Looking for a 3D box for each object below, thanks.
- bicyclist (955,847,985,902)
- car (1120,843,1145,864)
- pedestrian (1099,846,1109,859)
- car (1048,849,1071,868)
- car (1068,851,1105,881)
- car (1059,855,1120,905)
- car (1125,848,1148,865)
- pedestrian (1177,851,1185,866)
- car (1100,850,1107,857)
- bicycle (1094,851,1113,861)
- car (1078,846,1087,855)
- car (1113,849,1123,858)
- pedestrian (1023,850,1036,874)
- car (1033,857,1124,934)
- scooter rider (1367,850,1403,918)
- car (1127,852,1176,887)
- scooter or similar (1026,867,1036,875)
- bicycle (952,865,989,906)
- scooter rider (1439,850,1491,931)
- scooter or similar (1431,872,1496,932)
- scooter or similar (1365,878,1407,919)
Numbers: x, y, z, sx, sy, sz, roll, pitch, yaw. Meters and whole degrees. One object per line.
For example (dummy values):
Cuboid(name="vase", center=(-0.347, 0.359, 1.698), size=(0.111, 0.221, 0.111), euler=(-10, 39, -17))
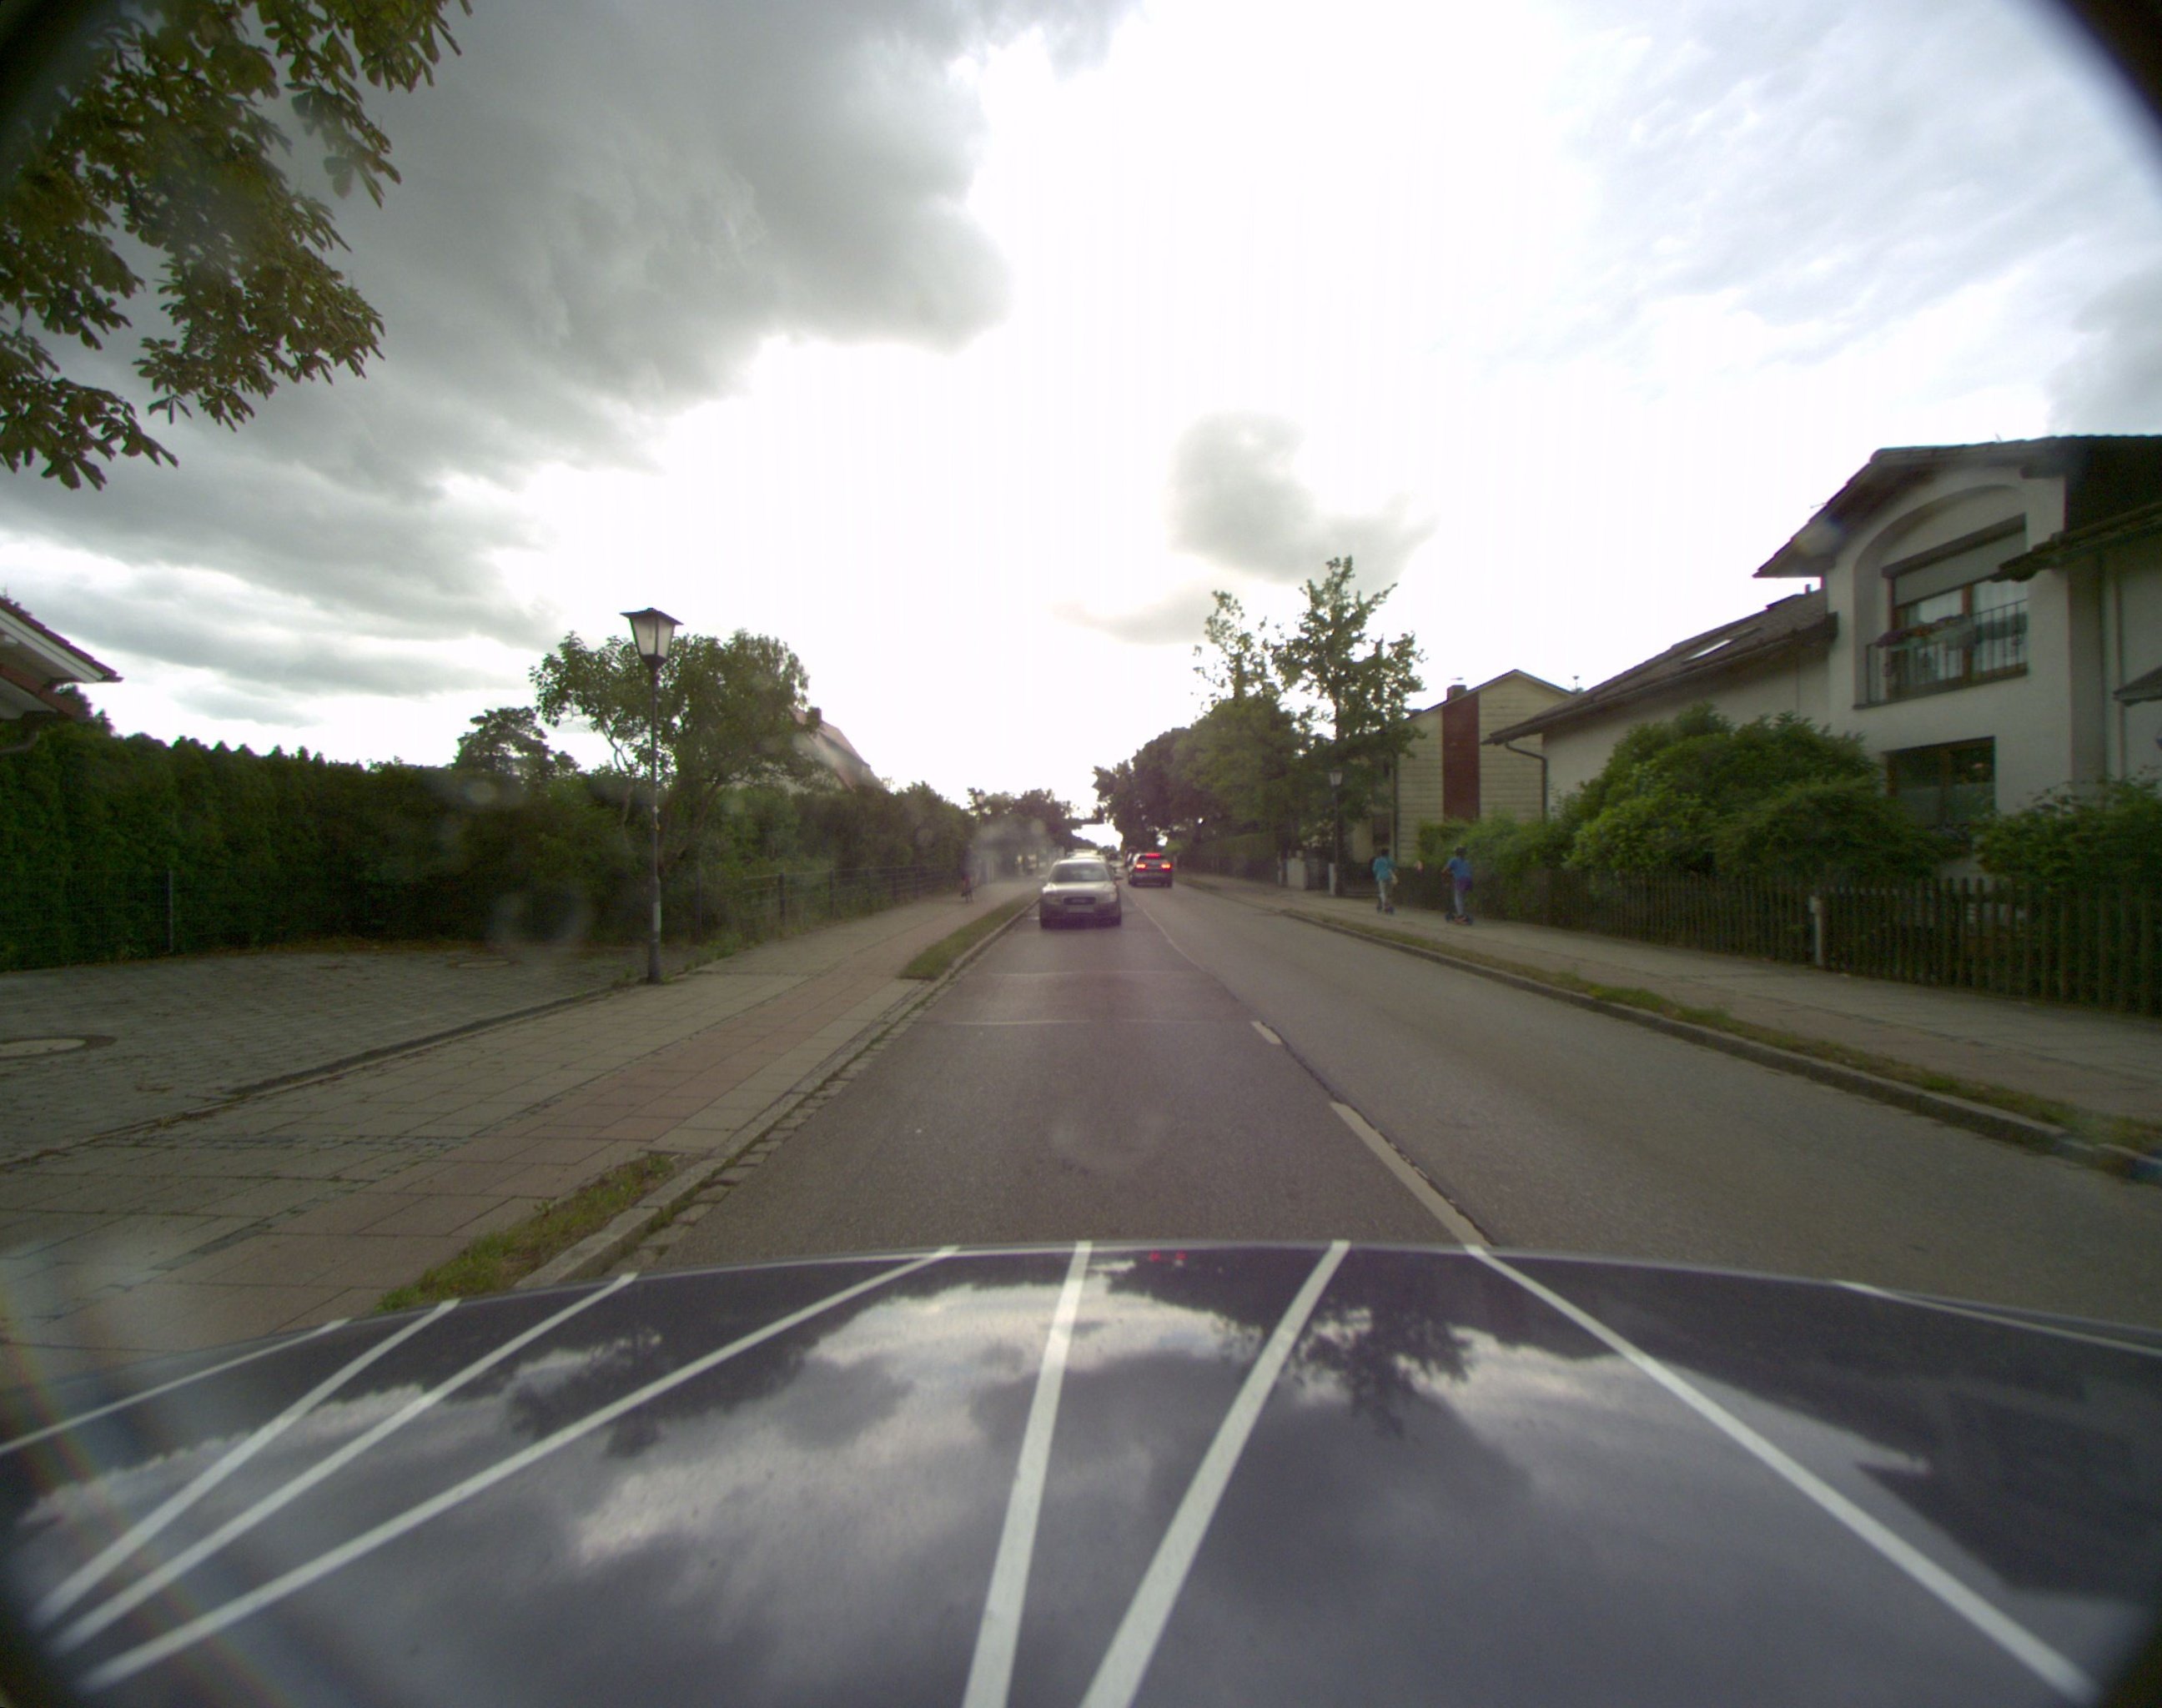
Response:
Cuboid(name="bicyclist", center=(-3.326, 0.590, 22.793), size=(0.738, 1.623, 0.890), euler=(0, 1, 2))
Cuboid(name="car", center=(5.869, -0.074, 86.860), size=(2.246, 2.258, 4.469), euler=(-1, 0, -2))
Cuboid(name="pedestrian", center=(3.661, -0.241, 121.415), size=(1.252, 2.002, 1.023), euler=(-2, 1, 24))
Cuboid(name="car", center=(-1.759, 0.349, 64.027), size=(1.867, 1.518, 4.122), euler=(0, 0, -1))
Cuboid(name="car", center=(0.286, 0.642, 41.704), size=(1.866, 1.518, 4.122), euler=(-1, 0, 0))
Cuboid(name="car", center=(0.279, 0.814, 26.308), size=(1.866, 1.518, 4.942), euler=(-1, 0, 0))
Cuboid(name="car", center=(5.880, 0.274, 81.021), size=(1.999, 1.739, 3.999), euler=(-1, 0, -2))
Cuboid(name="pedestrian", center=(9.136, 0.402, 69.464), size=(0.631, 1.429, 0.563), euler=(-1, 1, 0))
Cuboid(name="car", center=(6.497, -0.166, 217.486), size=(1.904, 1.873, 5.010), euler=(-1, 0, 1))
Cuboid(name="bicycle", center=(3.578, 0.332, 121.392), size=(2.911, 1.541, 0.941), euler=(-1, 1, 23))
Cuboid(name="car", center=(0.342, -0.840, 167.994), size=(1.998, 2.002, 4.000), euler=(-1, 0, 0))
Cuboid(name="car", center=(7.717, -0.140, 159.835), size=(1.969, 1.842, 4.947), euler=(-1, 0, 1))
Cuboid(name="pedestrian", center=(-3.464, 0.550, 50.967), size=(0.793, 1.592, 0.671), euler=(-1, 1, -2))
Cuboid(name="car", center=(-0.036, 0.854, 17.465), size=(1.809, 1.476, 4.270), euler=(-1, 0, 0))
Cuboid(name="scooter rider", center=(6.842, 0.662, 17.104), size=(0.504, 1.481, 0.716), euler=(-1, 1, 1))
Cuboid(name="car", center=(3.373, 0.690, 37.068), size=(1.935, 1.566, 4.311), euler=(-1, 0, 0))
Cuboid(name="scooter or similar", center=(-3.331, 1.112, 50.248), size=(0.618, 0.553, 0.742), euler=(-1, 0, -6))
Cuboid(name="bicycle", center=(-3.294, 0.919, 22.761), size=(0.766, 1.136, 1.845), euler=(0, 0, 2))
Cuboid(name="scooter rider", center=(7.151, 0.671, 14.176), size=(0.664, 1.464, 0.581), euler=(-1, 1, 1))
Cuboid(name="scooter or similar", center=(7.159, 0.880, 14.271), size=(0.663, 1.031, 1.178), euler=(-1, 0, 2))
Cuboid(name="scooter or similar", center=(6.864, 0.989, 17.112), size=(0.522, 0.845, 1.061), euler=(-1, 0, 1))
